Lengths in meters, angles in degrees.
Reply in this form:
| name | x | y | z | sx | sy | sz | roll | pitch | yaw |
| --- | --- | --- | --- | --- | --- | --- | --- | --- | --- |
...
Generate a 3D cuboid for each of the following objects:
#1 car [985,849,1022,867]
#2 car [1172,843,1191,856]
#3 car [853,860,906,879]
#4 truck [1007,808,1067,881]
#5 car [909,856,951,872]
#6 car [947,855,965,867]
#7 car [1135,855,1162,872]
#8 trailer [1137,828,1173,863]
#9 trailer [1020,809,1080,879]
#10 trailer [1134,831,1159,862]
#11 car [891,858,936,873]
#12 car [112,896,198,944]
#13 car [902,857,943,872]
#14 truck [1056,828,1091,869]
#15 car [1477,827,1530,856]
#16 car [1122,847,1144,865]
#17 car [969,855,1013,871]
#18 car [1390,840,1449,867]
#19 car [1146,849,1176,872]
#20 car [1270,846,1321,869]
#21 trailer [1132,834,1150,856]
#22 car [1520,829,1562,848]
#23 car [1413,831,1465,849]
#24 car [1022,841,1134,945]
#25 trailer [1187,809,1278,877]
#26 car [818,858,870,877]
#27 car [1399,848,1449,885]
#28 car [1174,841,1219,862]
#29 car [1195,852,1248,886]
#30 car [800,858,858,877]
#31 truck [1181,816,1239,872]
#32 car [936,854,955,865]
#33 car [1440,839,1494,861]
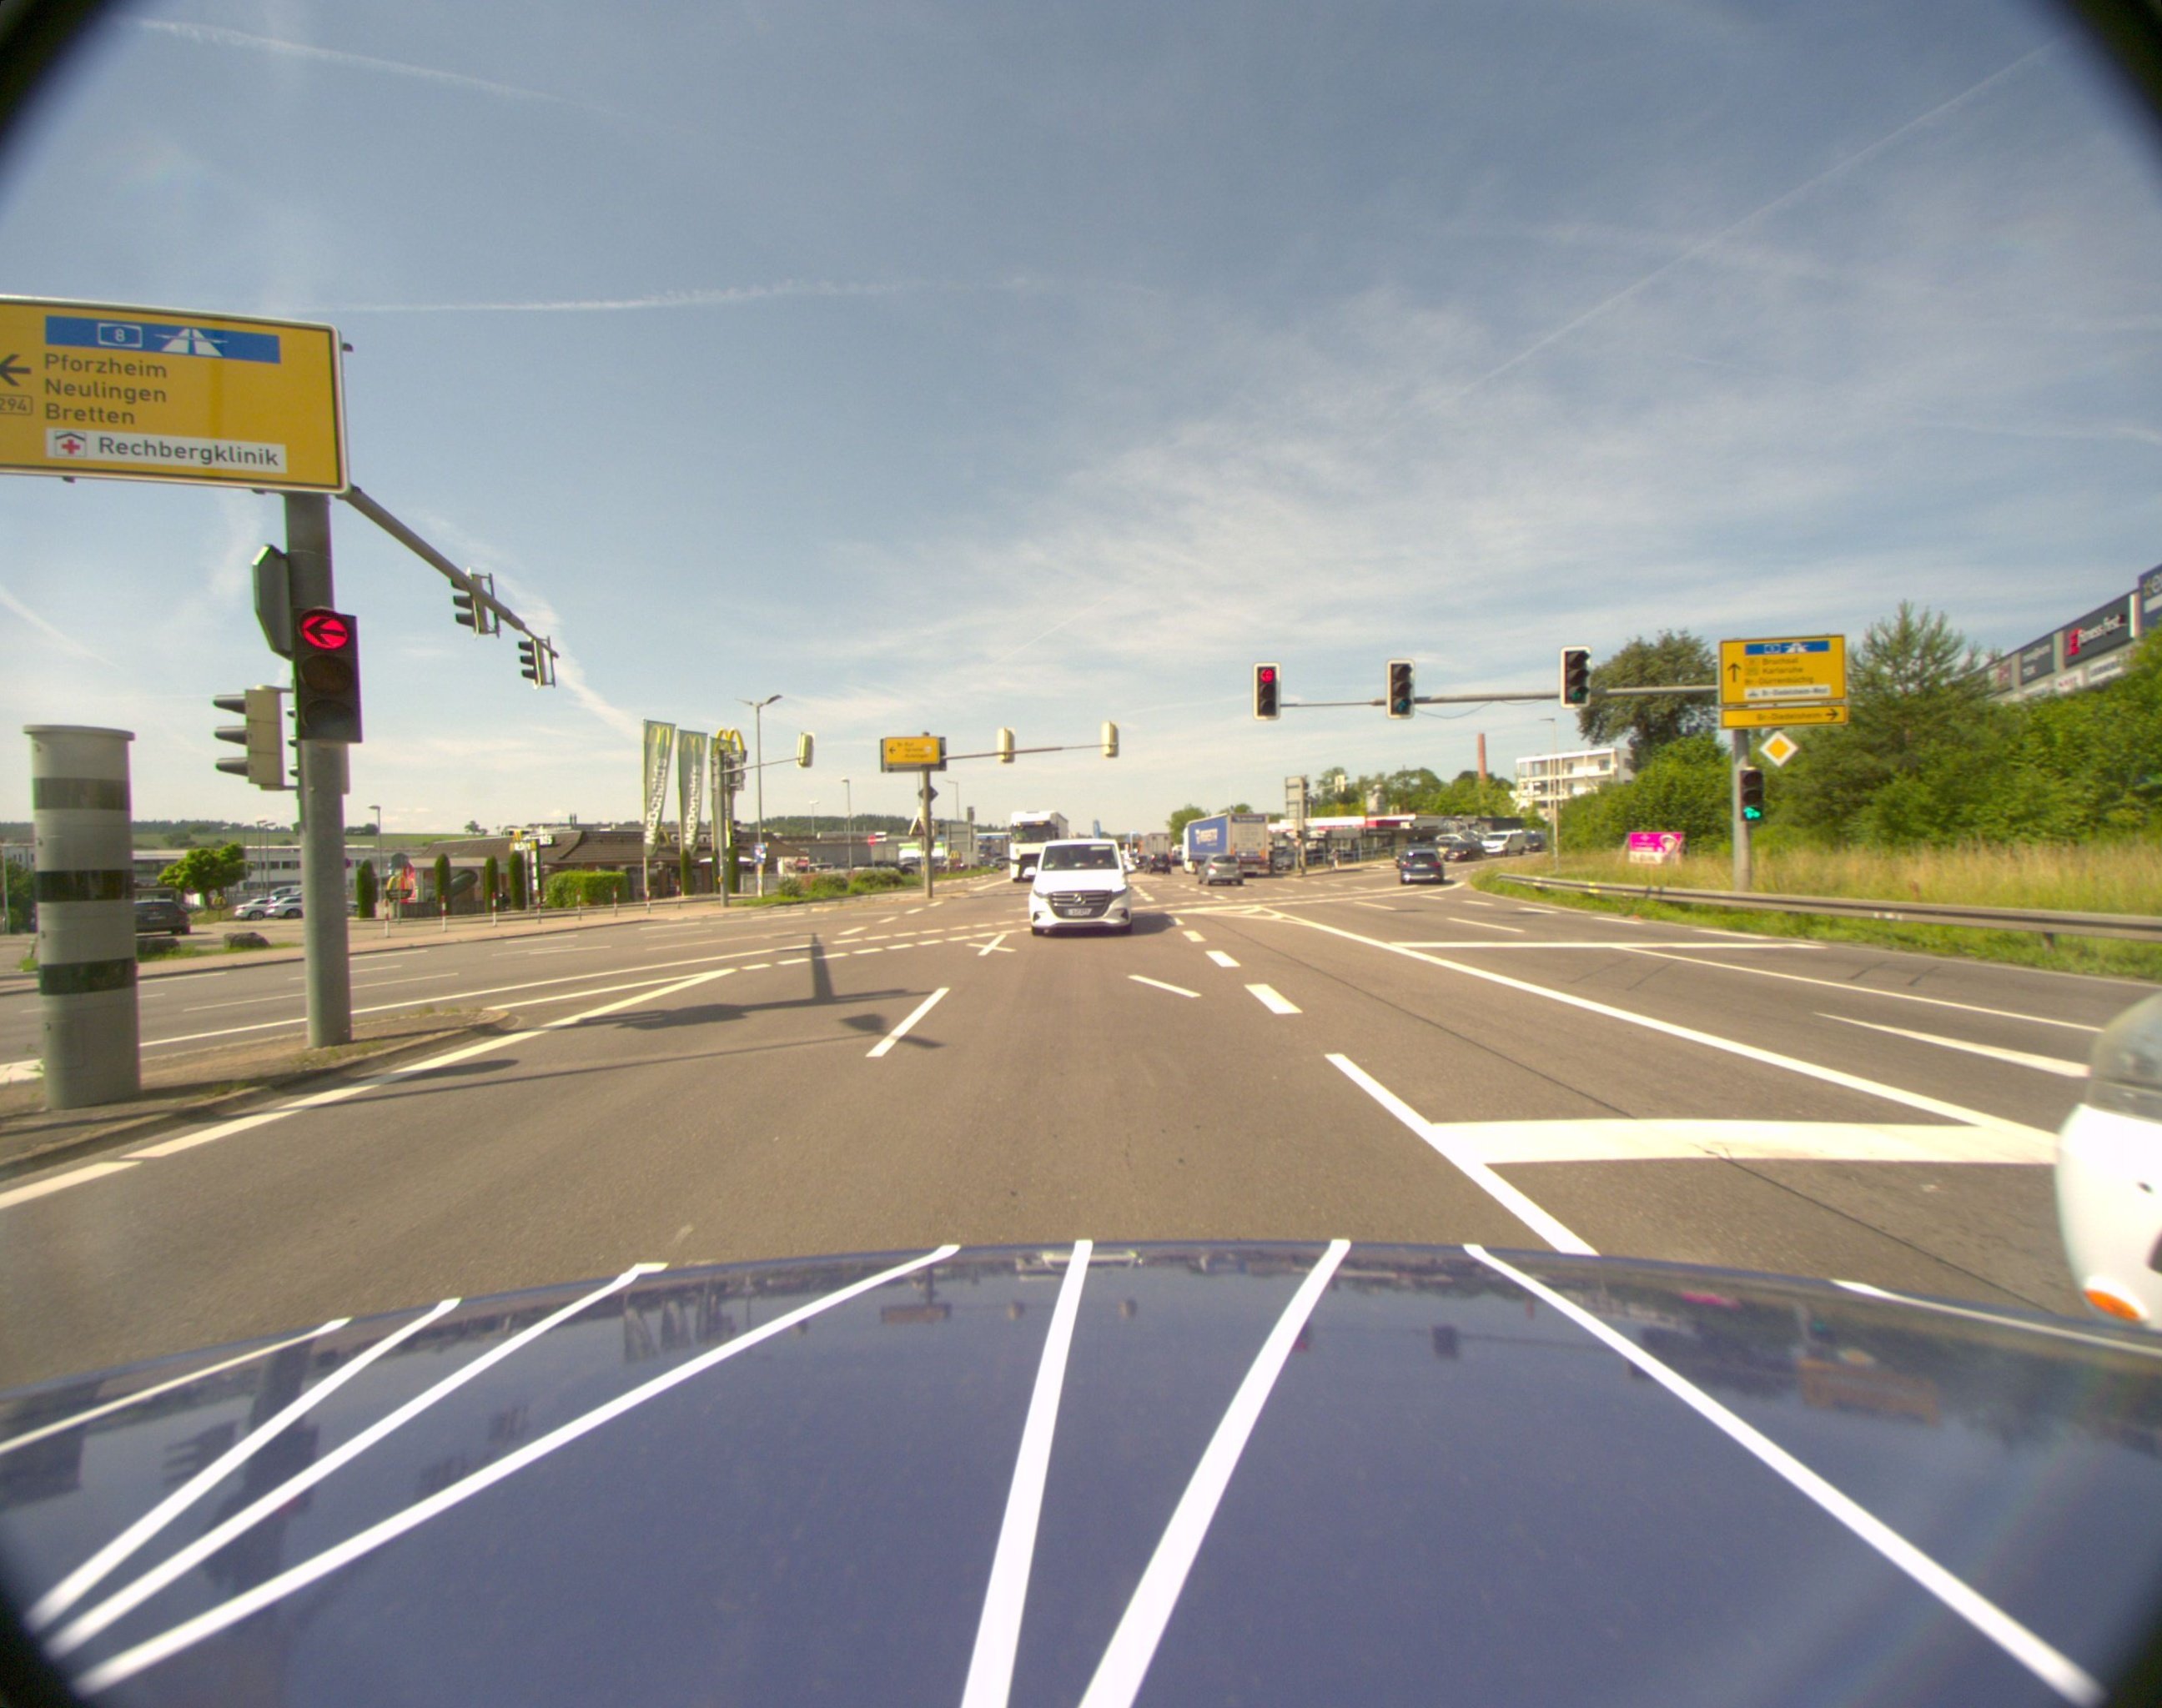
| name | x | y | z | sx | sy | sz | roll | pitch | yaw |
| --- | --- | --- | --- | --- | --- | --- | --- | --- | --- |
| car | -9.794 | 0.430 | 95.921 | 4.355 | 2.200 | 1.759 | -1 | 1 | -28 |
| car | 20.665 | -0.986 | 156.136 | 2.435 | 2.529 | 6.051 | -1 | 0 | 21 |
| car | -17.515 | 1.325 | 66.245 | 1.855 | 1.567 | 4.242 | 0 | 1 | 38 |
| truck | -2.454 | -0.521 | 44.448 | 2.646 | 3.964 | 6.043 | 0 | 1 | 5 |
| car | -16.223 | 1.079 | 81.707 | 4.031 | 1.661 | 1.772 | -1 | 1 | -28 |
| car | -18.301 | 0.980 | 111.503 | 1.907 | 1.645 | 4.709 | 0 | 0 | -2 |
| car | 6.024 | 0.820 | 68.425 | 1.999 | 1.476 | 4.453 | 0 | 0 | -1 |
| trailer | 9.264 | -1.071 | 96.664 | 2.699 | 4.123 | 13.875 | 0 | 0 | -2 |
| trailer | -1.904 | -0.645 | 51.393 | 2.612 | 4.203 | 11.295 | 0 | 0 | 5 |
| trailer | 8.951 | -1.022 | 103.868 | 2.652 | 4.081 | 6.178 | 0 | 1 | -2 |
| car | -16.726 | 1.134 | 76.117 | 1.744 | 1.483 | 4.273 | 0 | 1 | 38 |
| car | -37.121 | 2.582 | 30.439 | 4.436 | 1.511 | 2.004 | 0 | 1 | 38 |
| car | -17.521 | 1.147 | 83.916 | 4.007 | 1.661 | 1.916 | -1 | 1 | -35 |
| truck | -0.646 | -0.528 | 78.104 | 2.646 | 3.963 | 9.242 | 0 | 1 | 6 |
| car | 34.350 | -1.011 | 61.757 | 5.524 | 2.030 | 2.062 | -5 | 2 | -43 |
| car | 5.515 | 0.227 | 81.058 | 1.848 | 1.722 | 4.588 | -2 | 0 | -1 |
| car | -9.465 | 0.950 | 79.431 | 1.969 | 1.325 | 4.804 | -7 | 2 | -43 |
| car | 23.193 | -0.067 | 51.998 | 4.644 | 1.519 | 1.910 | -5 | 2 | -43 |
| car | 6.156 | 0.507 | 58.903 | 1.998 | 1.716 | 4.000 | 0 | 0 | 1 |
| car | 18.531 | 0.296 | 65.563 | 4.750 | 1.616 | 1.885 | -5 | 2 | -42 |
| trailer | 11.410 | -1.694 | 145.355 | 2.727 | 3.975 | 12.234 | 0 | 0 | 1 |
| car | 40.836 | -1.384 | 67.360 | 4.517 | 1.554 | 1.994 | -4 | 3 | -42 |
| car | 34.359 | -1.338 | 72.995 | 2.003 | 1.554 | 4.059 | -4 | 3 | -41 |
| car | 0.039 | 0.677 | 16.499 | 1.993 | 1.858 | 5.803 | 0 | 0 | 2 |
| trailer | 10.109 | -0.707 | 52.740 | 3.101 | 4.056 | 14.123 | 0 | 0 | -2 |
| car | -21.467 | 1.207 | 68.913 | 1.771 | 1.661 | 4.179 | 0 | 1 | 38 |
| car | 16.451 | 0.552 | 36.613 | 1.995 | 1.667 | 4.314 | 0 | 1 | 22 |
| car | 15.050 | -0.321 | 99.395 | 5.579 | 2.757 | 2.177 | 0 | 1 | 4 |
| car | 6.687 | 0.680 | 36.604 | 1.730 | 1.493 | 3.999 | 0 | 0 | -1 |
| car | -23.267 | 1.206 | 70.243 | 1.907 | 1.661 | 4.828 | 0 | 1 | 38 |
| truck | 9.936 | -0.771 | 59.006 | 3.196 | 4.056 | 6.344 | 0 | 1 | -2 |
| car | -20.869 | 0.834 | 117.518 | 1.774 | 1.645 | 4.435 | 0 | 0 | 5 |
| car | 29.051 | -0.311 | 57.115 | 4.982 | 1.411 | 1.944 | -5 | 3 | -43 |
